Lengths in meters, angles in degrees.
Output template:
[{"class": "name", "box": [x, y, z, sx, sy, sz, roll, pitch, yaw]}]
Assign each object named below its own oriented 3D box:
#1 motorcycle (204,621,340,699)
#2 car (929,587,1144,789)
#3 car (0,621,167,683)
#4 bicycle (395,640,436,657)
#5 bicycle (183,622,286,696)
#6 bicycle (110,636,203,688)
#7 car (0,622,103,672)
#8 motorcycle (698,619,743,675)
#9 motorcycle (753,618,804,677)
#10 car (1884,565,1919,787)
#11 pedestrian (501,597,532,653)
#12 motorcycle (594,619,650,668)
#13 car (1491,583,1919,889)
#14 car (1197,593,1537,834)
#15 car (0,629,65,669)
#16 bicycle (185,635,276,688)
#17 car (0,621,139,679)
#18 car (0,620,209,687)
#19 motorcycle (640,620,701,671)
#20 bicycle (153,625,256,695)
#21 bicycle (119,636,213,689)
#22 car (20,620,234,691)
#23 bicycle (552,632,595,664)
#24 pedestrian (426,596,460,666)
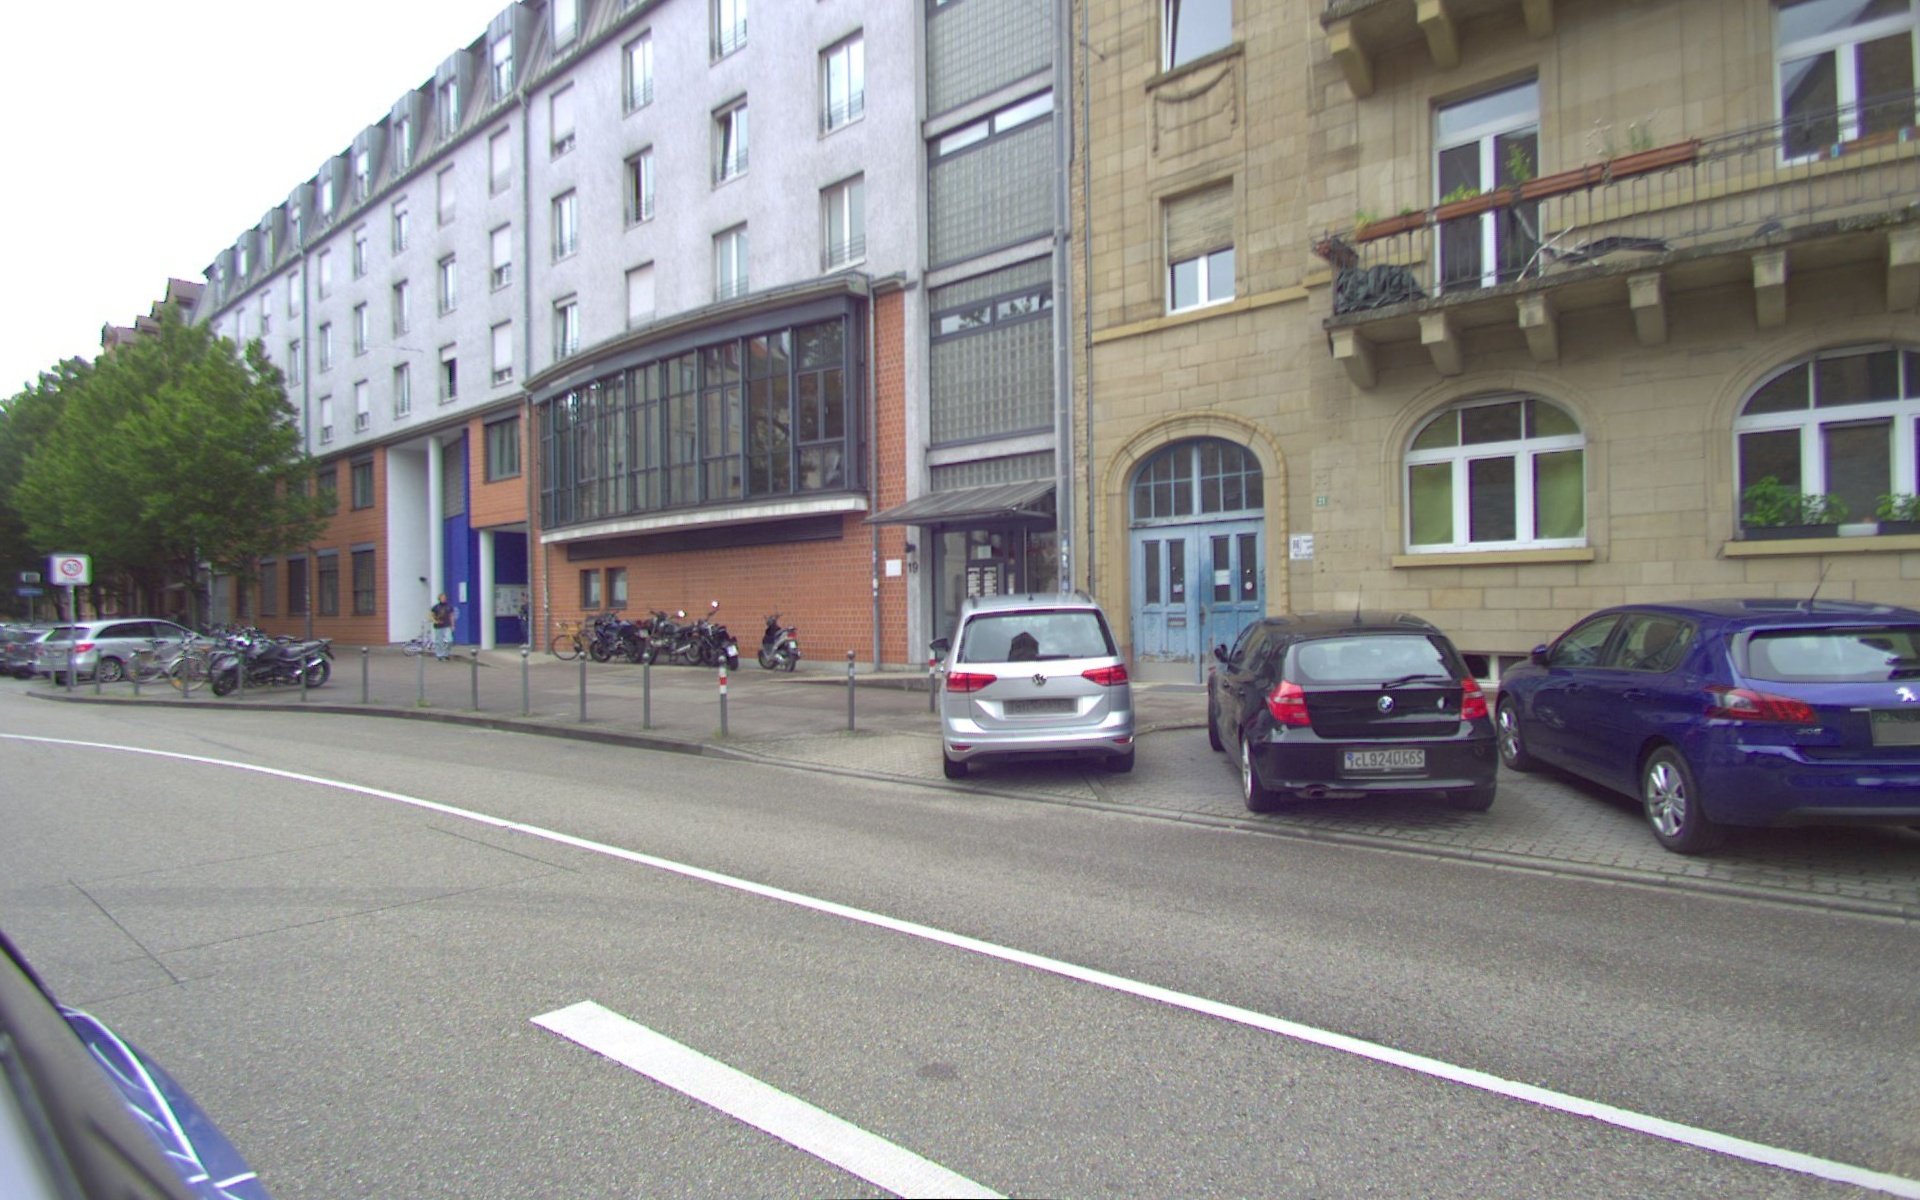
[{"class": "motorcycle", "box": [-13.460, 1.139, 19.856, 0.599, 1.363, 2.096, -2, 1, 41]}, {"class": "car", "box": [0.669, 0.708, 10.358, 1.710, 1.565, 3.999, -2, 1, 1]}, {"class": "car", "box": [-25.946, 1.458, 29.582, 1.983, 1.641, 3.977, -1, -1, 18]}, {"class": "bicycle", "box": [-16.663, 1.480, 30.969, 0.527, 0.440, 0.997, 1, 0, 42]}, {"class": "bicycle", "box": [-14.568, 1.151, 20.359, 0.416, 1.363, 1.610, -2, 1, 39]}, {"class": "bicycle", "box": [-18.497, 1.408, 23.330, 0.416, 1.082, 1.610, -2, 1, 39]}, {"class": "car", "box": [-32.649, 1.628, 35.141, 1.983, 1.641, 3.977, -1, -1, 18]}, {"class": "motorcycle", "box": [-4.946, 0.949, 20.833, 0.438, 1.106, 1.768, 0, -1, -29]}, {"class": "motorcycle", "box": [-3.592, 0.912, 19.935, 0.438, 1.106, 1.768, 0, -1, -29]}, {"class": "car", "box": [7.534, 0.549, 5.359, 1.681, 1.565, 3.997, -2, 1, 3]}, {"class": "pedestrian", "box": [-13.519, 0.750, 30.855, 0.622, 1.662, 0.677, -1, 0, 42]}, {"class": "motorcycle", "box": [-7.988, 1.021, 23.870, 1.762, 1.106, 0.440, -2, -1, 42]}, {"class": "car", "box": [5.247, 0.671, 6.891, 1.804, 1.456, 3.737, -2, 1, 10]}, {"class": "car", "box": [3.079, 0.738, 8.526, 1.713, 1.449, 3.990, -2, 1, 9]}, {"class": "car", "box": [-37.718, 1.918, 39.407, 1.723, 1.508, 3.977, -1, -1, 18]}, {"class": "bicycle", "box": [-16.623, 1.381, 23.106, 0.416, 1.082, 1.610, -2, 1, 39]}, {"class": "car", "box": [-28.166, 1.499, 31.241, 1.983, 1.641, 3.977, -1, -1, 18]}, {"class": "car", "box": [-23.301, 1.412, 27.731, 1.983, 1.641, 3.977, -1, -1, 18]}, {"class": "motorcycle", "box": [-6.463, 1.002, 22.567, 1.762, 1.106, 0.440, -2, -1, 42]}, {"class": "bicycle", "box": [-15.357, 1.190, 20.603, 0.416, 1.299, 1.610, -2, 1, 39]}, {"class": "bicycle", "box": [-18.050, 1.402, 23.030, 0.416, 1.082, 1.610, -2, 1, 39]}, {"class": "car", "box": [-21.273, 1.366, 26.050, 1.757, 1.641, 3.977, -1, -1, 18]}, {"class": "bicycle", "box": [-9.814, 1.203, 25.704, 1.581, 0.793, 0.332, -2, -1, 42]}, {"class": "pedestrian", "box": [-13.809, 0.830, 27.012, 0.641, 1.837, 0.613, -2, -1, 41]}]
